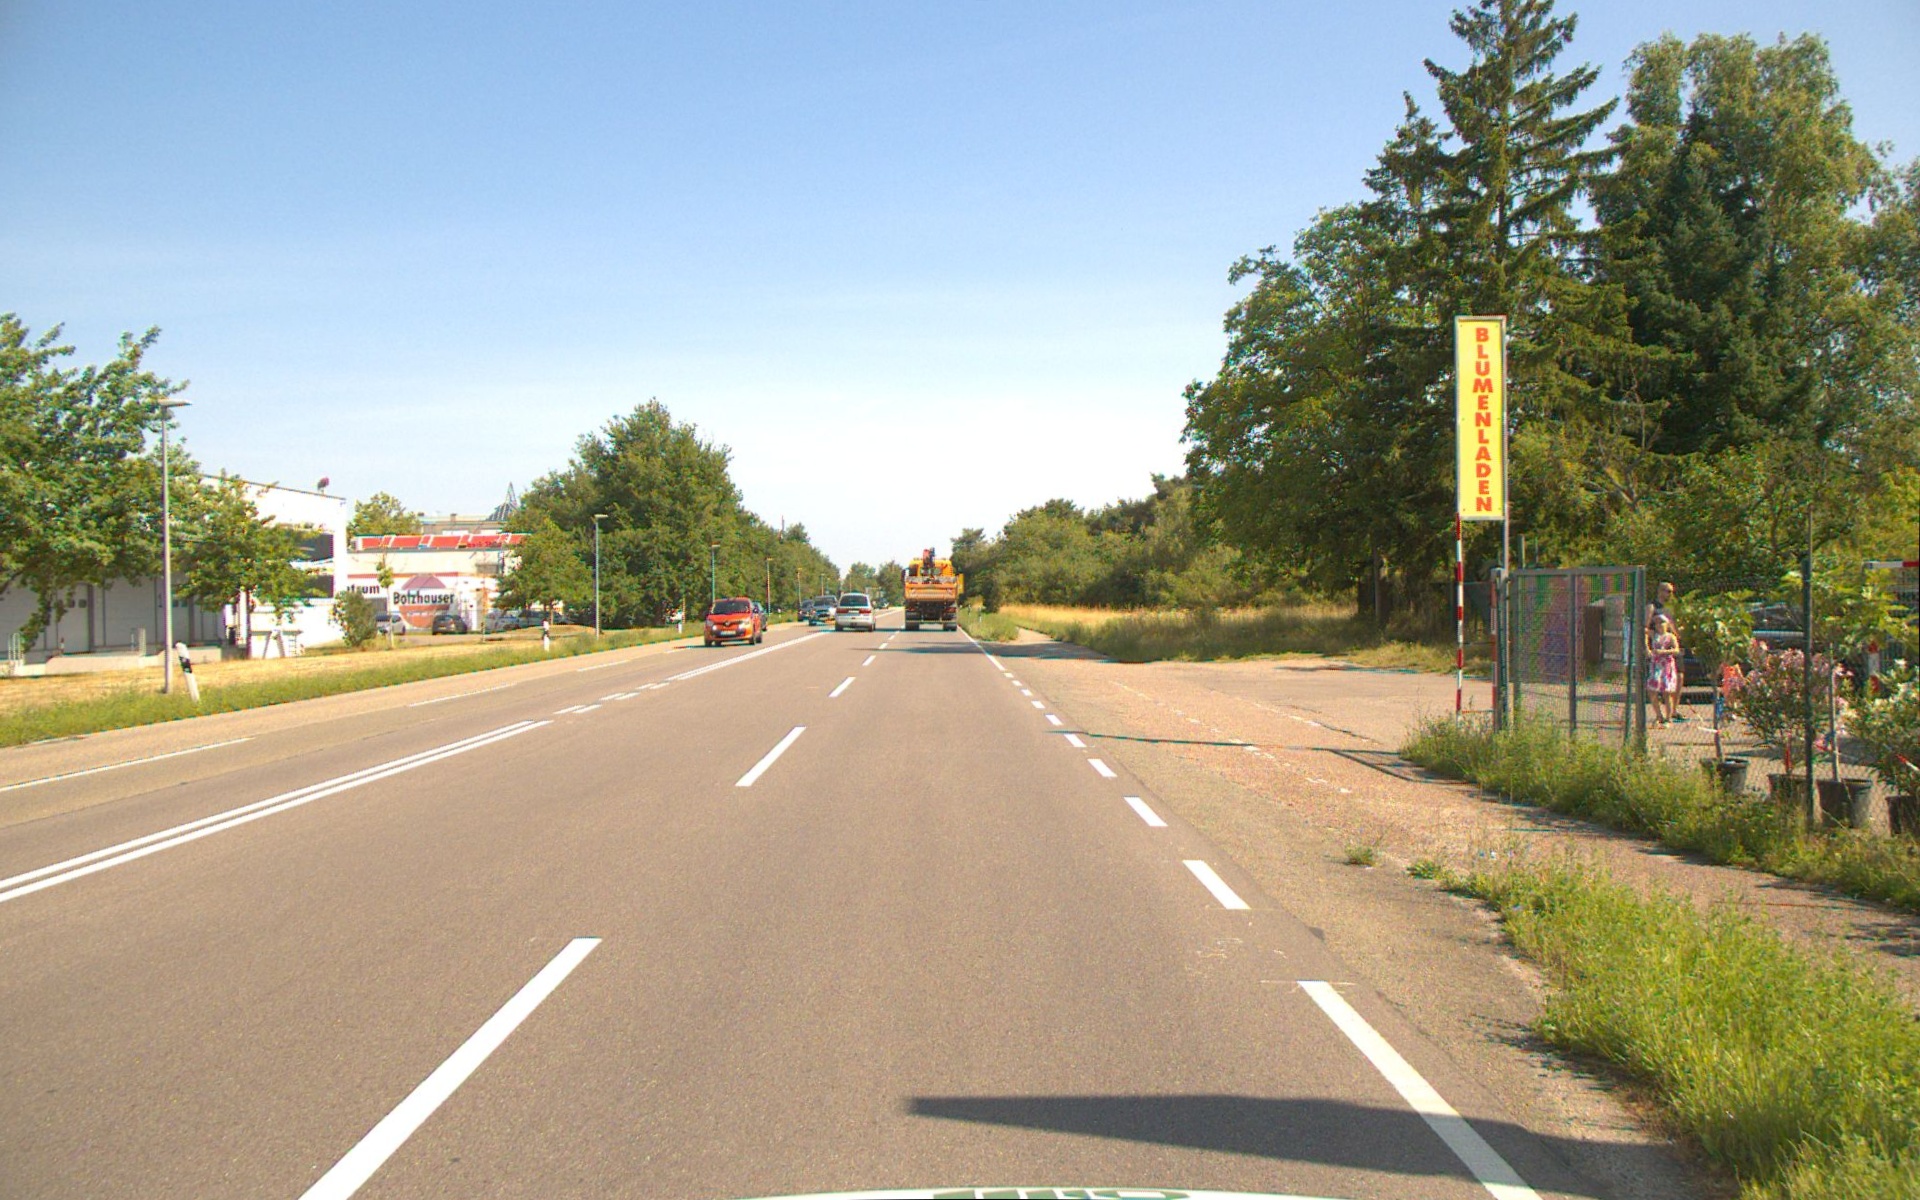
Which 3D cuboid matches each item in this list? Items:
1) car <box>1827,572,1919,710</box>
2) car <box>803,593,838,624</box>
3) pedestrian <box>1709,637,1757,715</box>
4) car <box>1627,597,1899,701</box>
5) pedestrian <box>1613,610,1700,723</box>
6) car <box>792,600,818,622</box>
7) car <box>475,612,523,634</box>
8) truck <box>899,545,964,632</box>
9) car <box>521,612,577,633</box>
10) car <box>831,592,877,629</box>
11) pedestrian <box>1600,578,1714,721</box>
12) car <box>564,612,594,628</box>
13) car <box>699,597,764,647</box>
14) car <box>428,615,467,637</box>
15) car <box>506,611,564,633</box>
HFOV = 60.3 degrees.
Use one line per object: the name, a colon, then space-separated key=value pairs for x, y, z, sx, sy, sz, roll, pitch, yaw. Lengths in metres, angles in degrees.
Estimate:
car: x=14.428 y=0.509 z=23.356 sx=4.403 sy=1.834 sz=1.845 roll=-1 pitch=0 yaw=-31
car: x=-8.293 y=0.499 z=98.477 sx=1.736 sy=1.744 sz=4.568 roll=-3 pitch=0 yaw=-1
pedestrian: x=10.159 y=0.995 z=21.730 sx=0.336 sy=1.001 sz=0.463 roll=-1 pitch=0 yaw=-43
car: x=12.587 y=0.707 z=25.850 sx=4.403 sy=1.455 sz=1.698 roll=-1 pitch=0 yaw=-31
pedestrian: x=8.690 y=0.813 z=20.628 sx=0.819 sy=1.361 sz=0.713 roll=-1 pitch=0 yaw=-44
car: x=-11.942 y=0.821 z=127.439 sx=1.694 sy=1.588 sz=4.214 roll=1 pitch=0 yaw=-1
car: x=-33.962 y=1.674 z=121.899 sx=1.727 sy=1.527 sz=3.934 roll=-1 pitch=0 yaw=-44
truck: x=-1.446 y=-0.518 z=79.464 sx=2.815 sy=3.948 sz=7.394 roll=1 pitch=0 yaw=-3
car: x=-32.133 y=1.758 z=129.281 sx=3.906 sy=1.527 sz=1.757 roll=-2 pitch=0 yaw=-2
car: x=-4.777 y=0.460 z=75.060 sx=1.953 sy=1.611 sz=3.998 roll=-1 pitch=0 yaw=-2
pedestrian: x=9.187 y=0.629 z=21.805 sx=0.929 sy=1.817 sz=1.082 roll=-1 pitch=0 yaw=-43
car: x=-33.471 y=1.747 z=145.250 sx=1.752 sy=1.373 sz=4.659 roll=-2 pitch=0 yaw=-4
car: x=-7.591 y=0.711 z=55.211 sx=1.617 sy=1.523 sz=3.843 roll=-3 pitch=0 yaw=-1
car: x=-35.439 y=1.781 z=114.431 sx=1.603 sy=1.414 sz=3.721 roll=-1 pitch=0 yaw=-2
car: x=-32.139 y=1.650 z=125.188 sx=3.906 sy=1.527 sz=1.757 roll=-2 pitch=0 yaw=-2
